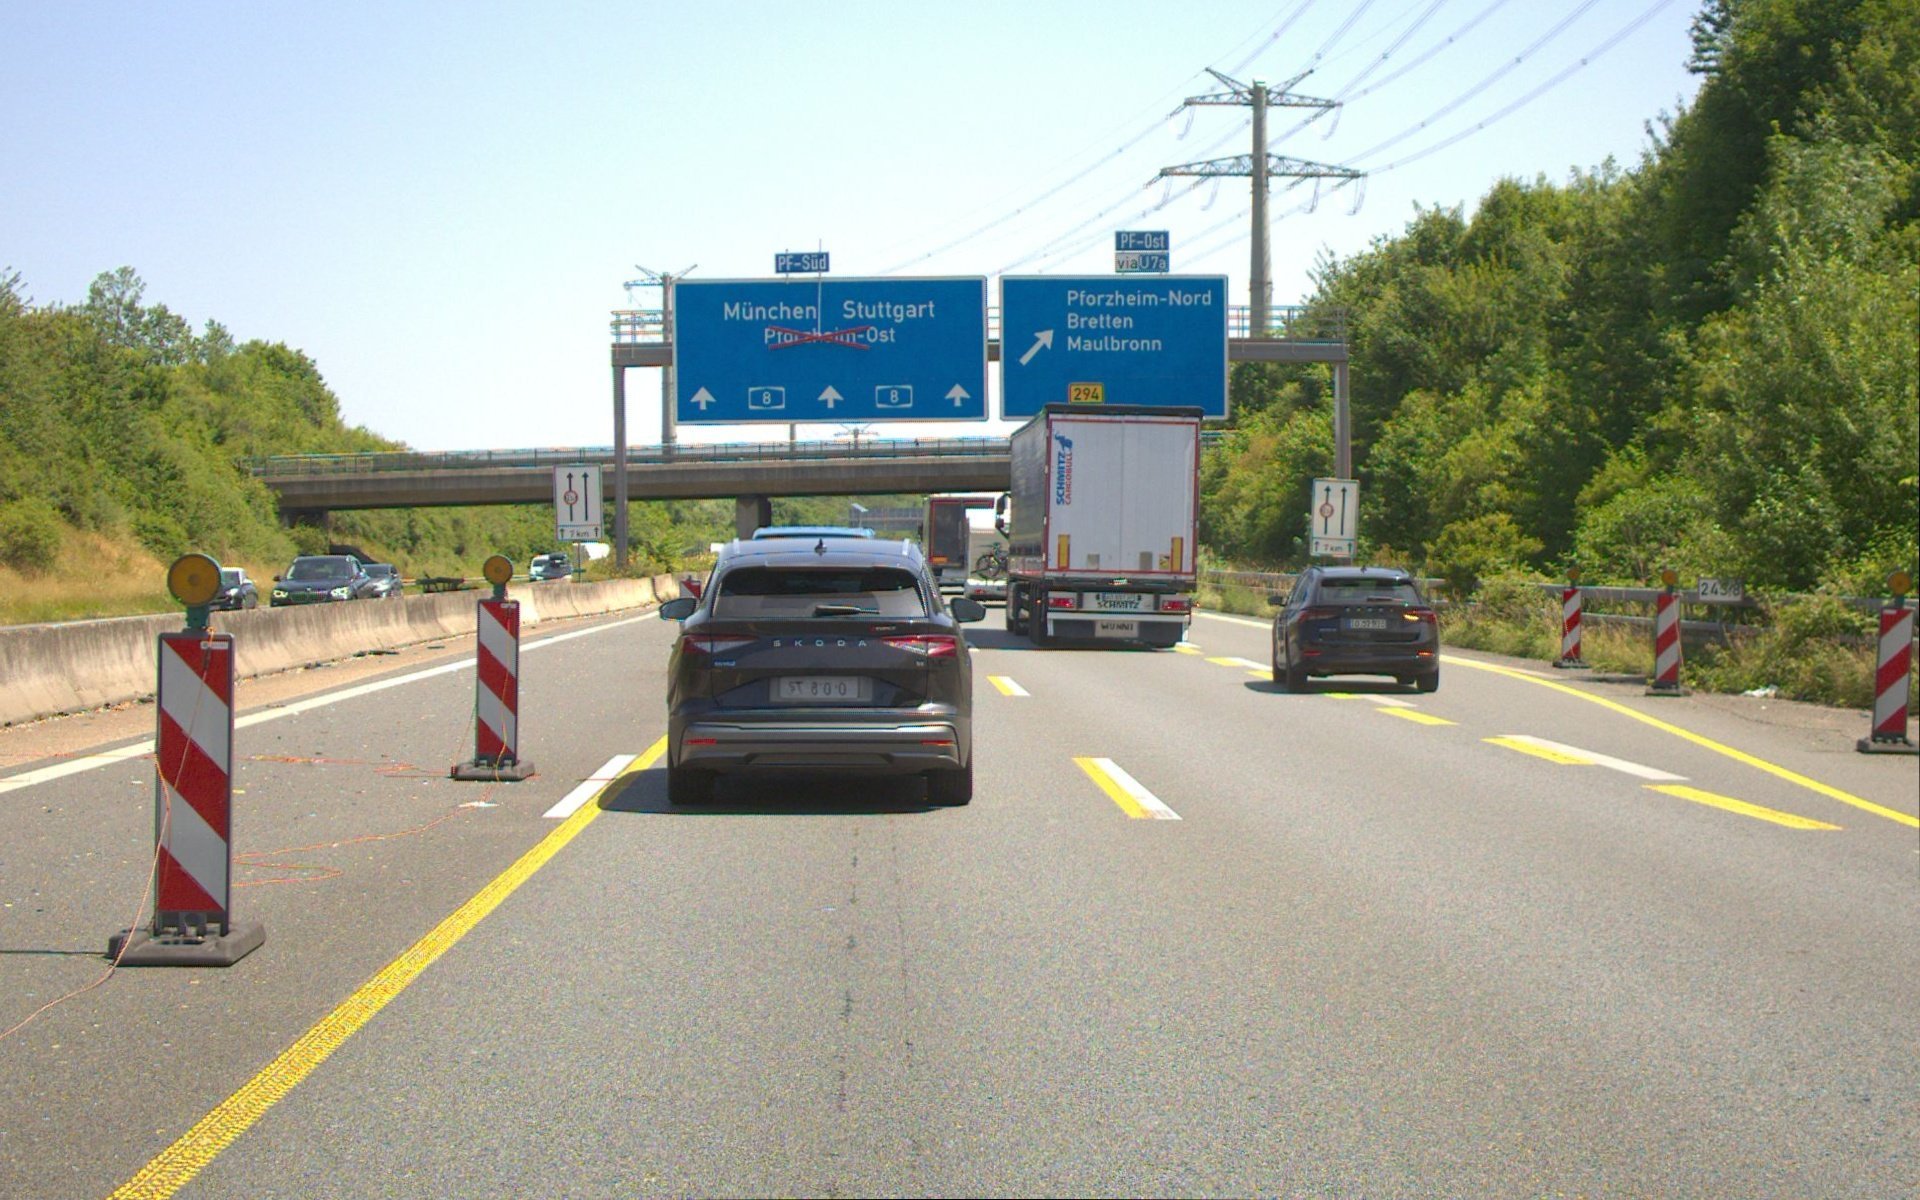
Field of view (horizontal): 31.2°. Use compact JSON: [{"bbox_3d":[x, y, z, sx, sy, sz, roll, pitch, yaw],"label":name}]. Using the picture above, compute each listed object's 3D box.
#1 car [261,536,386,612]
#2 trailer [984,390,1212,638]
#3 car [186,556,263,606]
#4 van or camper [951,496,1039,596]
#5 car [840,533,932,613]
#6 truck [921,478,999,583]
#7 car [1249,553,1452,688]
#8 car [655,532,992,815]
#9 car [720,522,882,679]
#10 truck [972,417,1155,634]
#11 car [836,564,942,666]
[{"bbox_3d":[-14.056,-0.589,76.153,1.993,1.594,4.583,-1,1,-1],"label":"car"},{"bbox_3d":[2.293,-1.500,61.884,3.065,4.029,11.489,0,1,-3],"label":"trailer"},{"bbox_3d":[-22.181,-0.580,103.769,1.574,1.459,3.779,-1,1,-1],"label":"car"},{"bbox_3d":[1.029,-1.663,105.910,2.586,2.958,6.085,1,1,0],"label":"van or camper"},{"bbox_3d":[-1.668,-0.627,75.770,1.895,1.504,4.443,3,3,-2],"label":"car"},{"bbox_3d":[-0.038,-2.848,142.488,3.078,4.132,13.055,0,1,0],"label":"truck"},{"bbox_3d":[4.622,0.203,41.264,1.779,1.484,4.464,1,1,-2],"label":"car"},{"bbox_3d":[-0.866,0.378,21.807,1.895,1.586,4.443,1,1,-2],"label":"car"},{"bbox_3d":[-2.000,-0.036,43.513,1.895,1.835,4.443,2,1,-2],"label":"car"},{"bbox_3d":[1.965,-1.474,68.746,3.024,4.073,7.796,-1,1,-3],"label":"truck"},{"bbox_3d":[-1.212,0.235,60.285,1.671,1.623,4.691,2,1,0],"label":"car"}]
